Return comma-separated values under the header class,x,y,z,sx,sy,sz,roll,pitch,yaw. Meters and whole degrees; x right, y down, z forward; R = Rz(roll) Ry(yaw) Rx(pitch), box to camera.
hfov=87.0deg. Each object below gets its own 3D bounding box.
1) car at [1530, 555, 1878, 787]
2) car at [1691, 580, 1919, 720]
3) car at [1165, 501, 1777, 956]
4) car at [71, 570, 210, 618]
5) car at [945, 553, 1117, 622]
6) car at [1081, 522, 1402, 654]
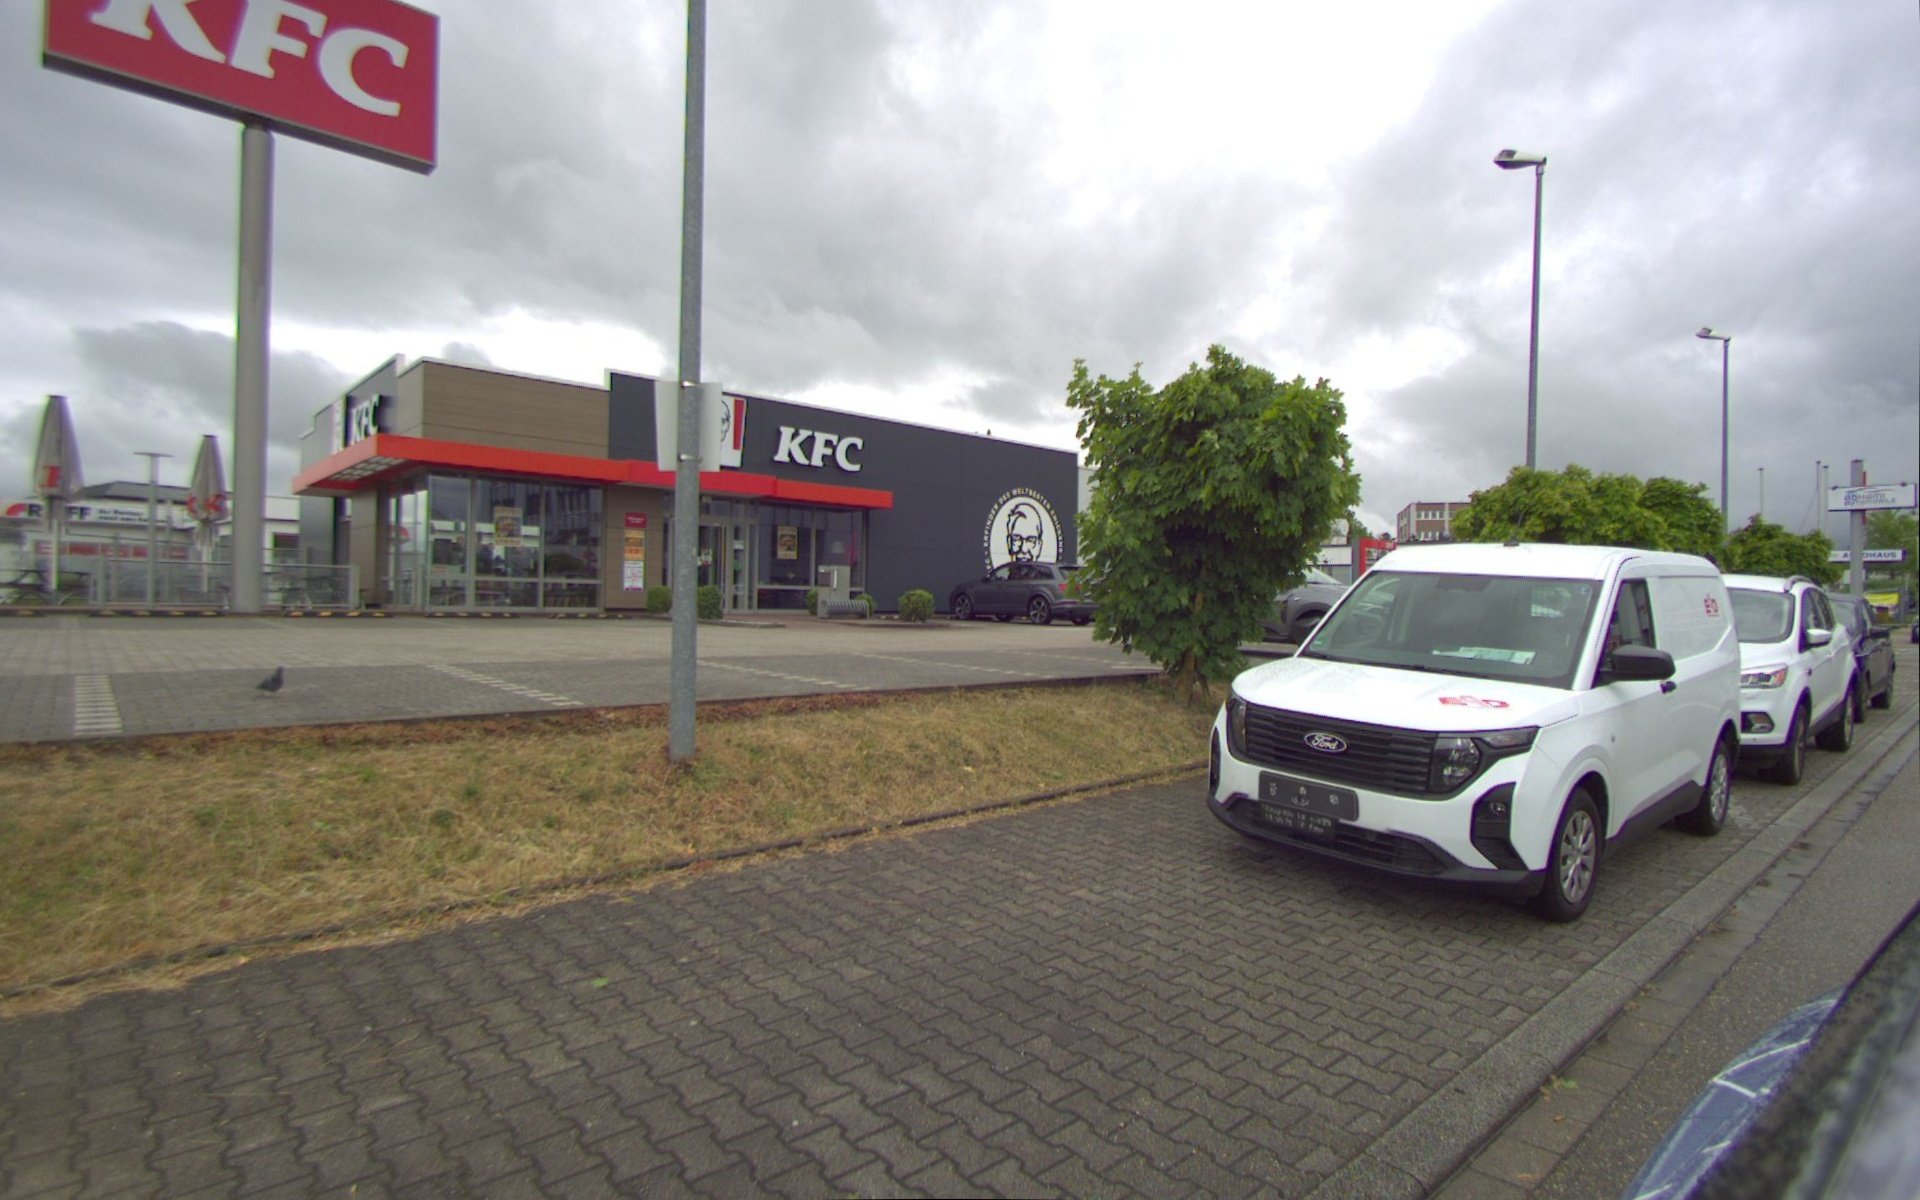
class,x,y,z,sx,sy,sz,roll,pitch,yaw
car,7.097,0.499,9.517,3.930,1.730,1.821,-1,1,-41
car,11.523,0.548,13.677,3.930,1.618,1.821,-1,1,-41
car,3.261,0.448,6.062,4.175,1.805,1.796,-1,3,-41
car,-30.761,-0.252,38.028,3.934,1.701,1.952,0,1,-44
car,1.890,-0.362,28.146,4.729,1.762,1.862,1,1,45
car,4.226,-0.201,15.709,4.489,1.762,1.862,1,1,45
